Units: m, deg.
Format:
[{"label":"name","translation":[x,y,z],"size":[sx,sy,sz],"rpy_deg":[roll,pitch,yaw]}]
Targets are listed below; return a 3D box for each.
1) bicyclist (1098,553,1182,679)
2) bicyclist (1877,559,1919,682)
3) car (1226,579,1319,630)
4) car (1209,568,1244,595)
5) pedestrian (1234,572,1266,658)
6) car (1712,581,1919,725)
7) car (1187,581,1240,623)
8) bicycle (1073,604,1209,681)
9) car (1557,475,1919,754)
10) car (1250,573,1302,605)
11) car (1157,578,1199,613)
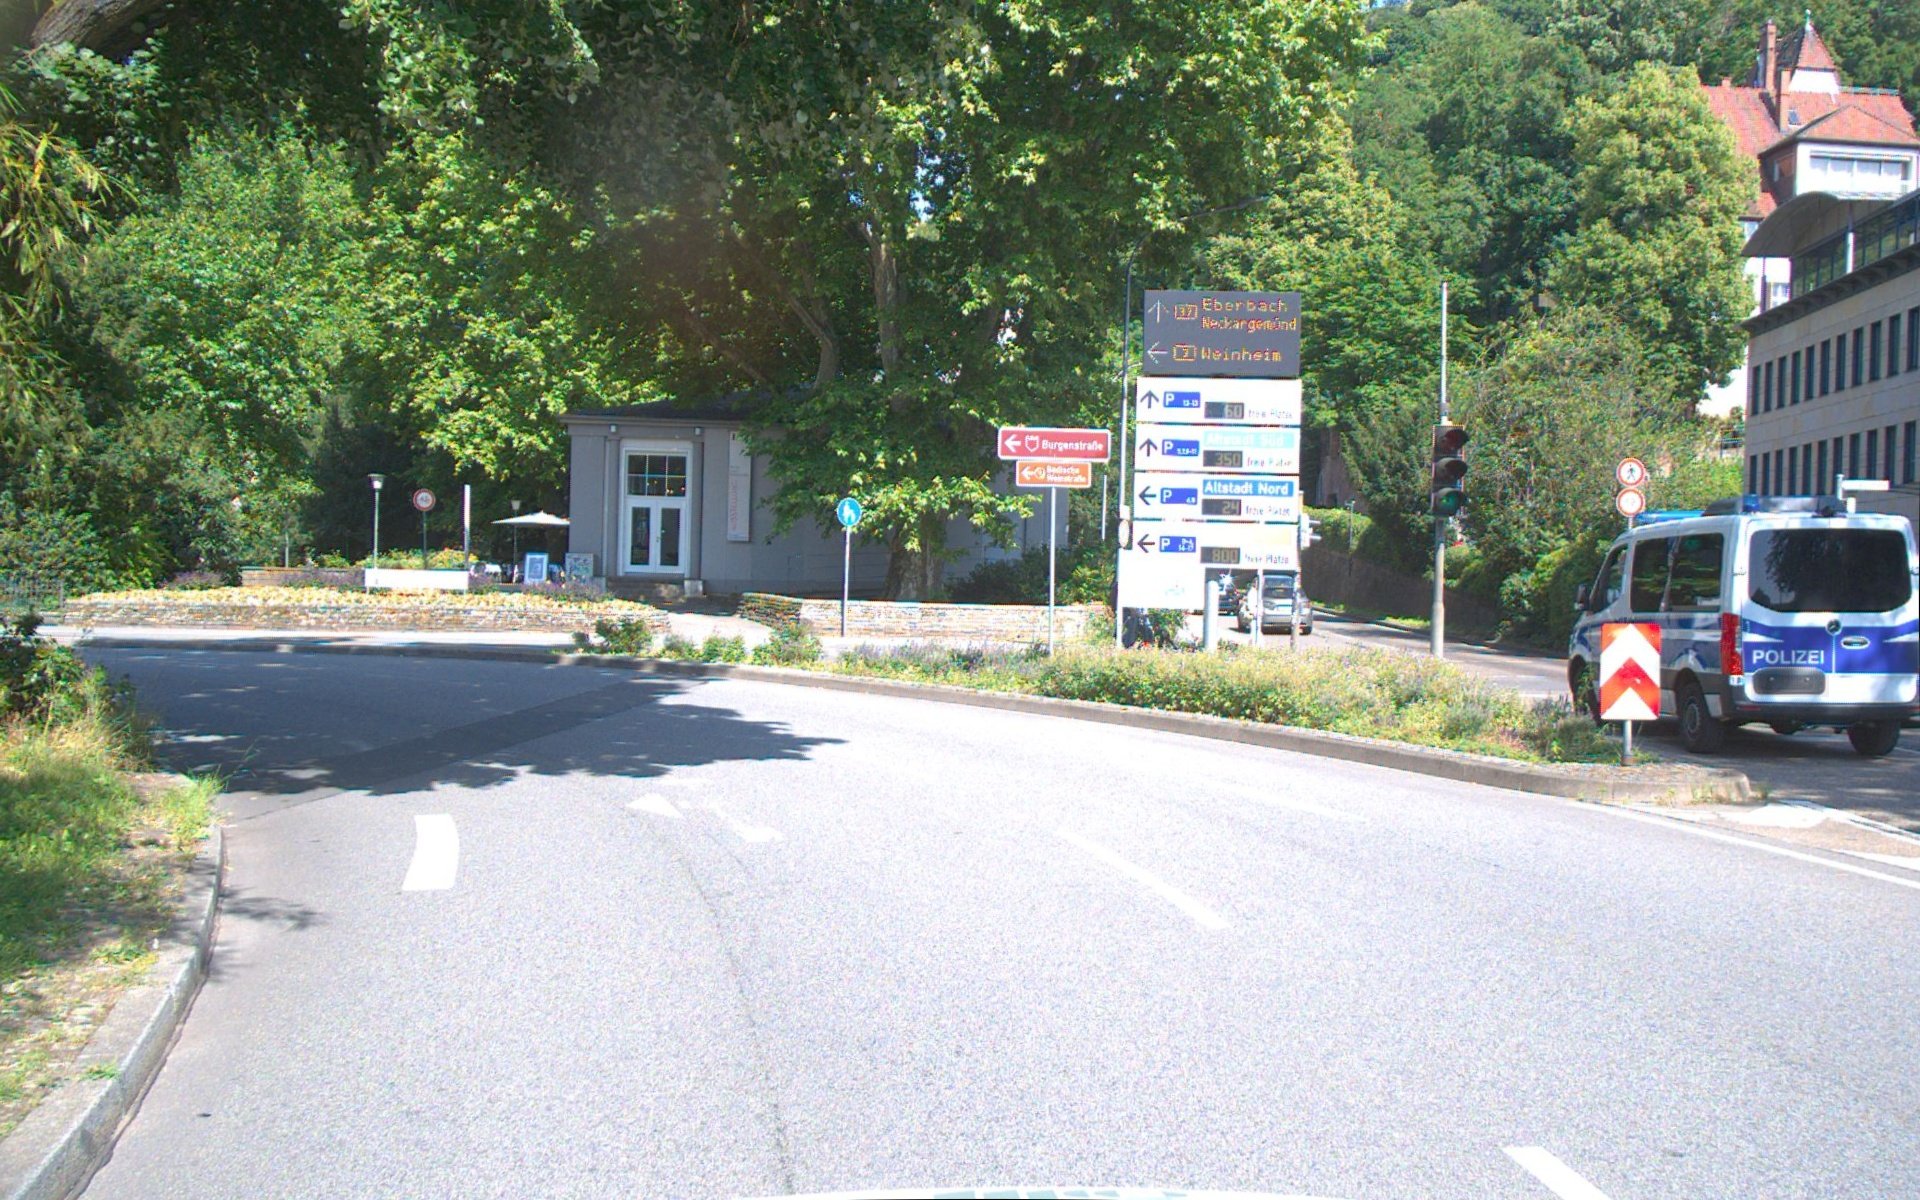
[{"label":"bicyclist","translation":[2.902,0.245,26.700],"size":[1.105,1.966,0.746],"rpy_deg":[2,0,31]},{"label":"bicyclist","translation":[15.532,0.333,26.705],"size":[1.102,1.966,0.748],"rpy_deg":[1,0,18]},{"label":"car","translation":[9.080,0.109,48.300],"size":[1.722,1.357,3.798],"rpy_deg":[2,1,-4]},{"label":"car","translation":[15.371,-1.098,95.518],"size":[1.719,1.486,3.648],"rpy_deg":[2,1,5]},{"label":"pedestrian","translation":[5.644,0.276,32.176],"size":[0.535,1.649,0.635],"rpy_deg":[1,1,15]},{"label":"car","translation":[11.350,0.610,20.968],"size":[1.684,1.568,4.272],"rpy_deg":[2,1,1]},{"label":"car","translation":[9.519,0.040,62.262],"size":[1.719,1.486,3.496],"rpy_deg":[2,1,5]},{"label":"bicycle","translation":[2.914,0.663,26.693],"size":[2.038,1.132,0.755],"rpy_deg":[2,1,31]},{"label":"car","translation":[8.322,0.121,17.900],"size":[2.030,2.552,4.931],"rpy_deg":[2,0,2]},{"label":"car","translation":[12.869,-0.472,67.438],"size":[1.719,1.234,3.496],"rpy_deg":[2,1,5]},{"label":"car","translation":[9.726,-0.217,73.923],"size":[1.719,1.486,3.648],"rpy_deg":[2,1,5]}]
